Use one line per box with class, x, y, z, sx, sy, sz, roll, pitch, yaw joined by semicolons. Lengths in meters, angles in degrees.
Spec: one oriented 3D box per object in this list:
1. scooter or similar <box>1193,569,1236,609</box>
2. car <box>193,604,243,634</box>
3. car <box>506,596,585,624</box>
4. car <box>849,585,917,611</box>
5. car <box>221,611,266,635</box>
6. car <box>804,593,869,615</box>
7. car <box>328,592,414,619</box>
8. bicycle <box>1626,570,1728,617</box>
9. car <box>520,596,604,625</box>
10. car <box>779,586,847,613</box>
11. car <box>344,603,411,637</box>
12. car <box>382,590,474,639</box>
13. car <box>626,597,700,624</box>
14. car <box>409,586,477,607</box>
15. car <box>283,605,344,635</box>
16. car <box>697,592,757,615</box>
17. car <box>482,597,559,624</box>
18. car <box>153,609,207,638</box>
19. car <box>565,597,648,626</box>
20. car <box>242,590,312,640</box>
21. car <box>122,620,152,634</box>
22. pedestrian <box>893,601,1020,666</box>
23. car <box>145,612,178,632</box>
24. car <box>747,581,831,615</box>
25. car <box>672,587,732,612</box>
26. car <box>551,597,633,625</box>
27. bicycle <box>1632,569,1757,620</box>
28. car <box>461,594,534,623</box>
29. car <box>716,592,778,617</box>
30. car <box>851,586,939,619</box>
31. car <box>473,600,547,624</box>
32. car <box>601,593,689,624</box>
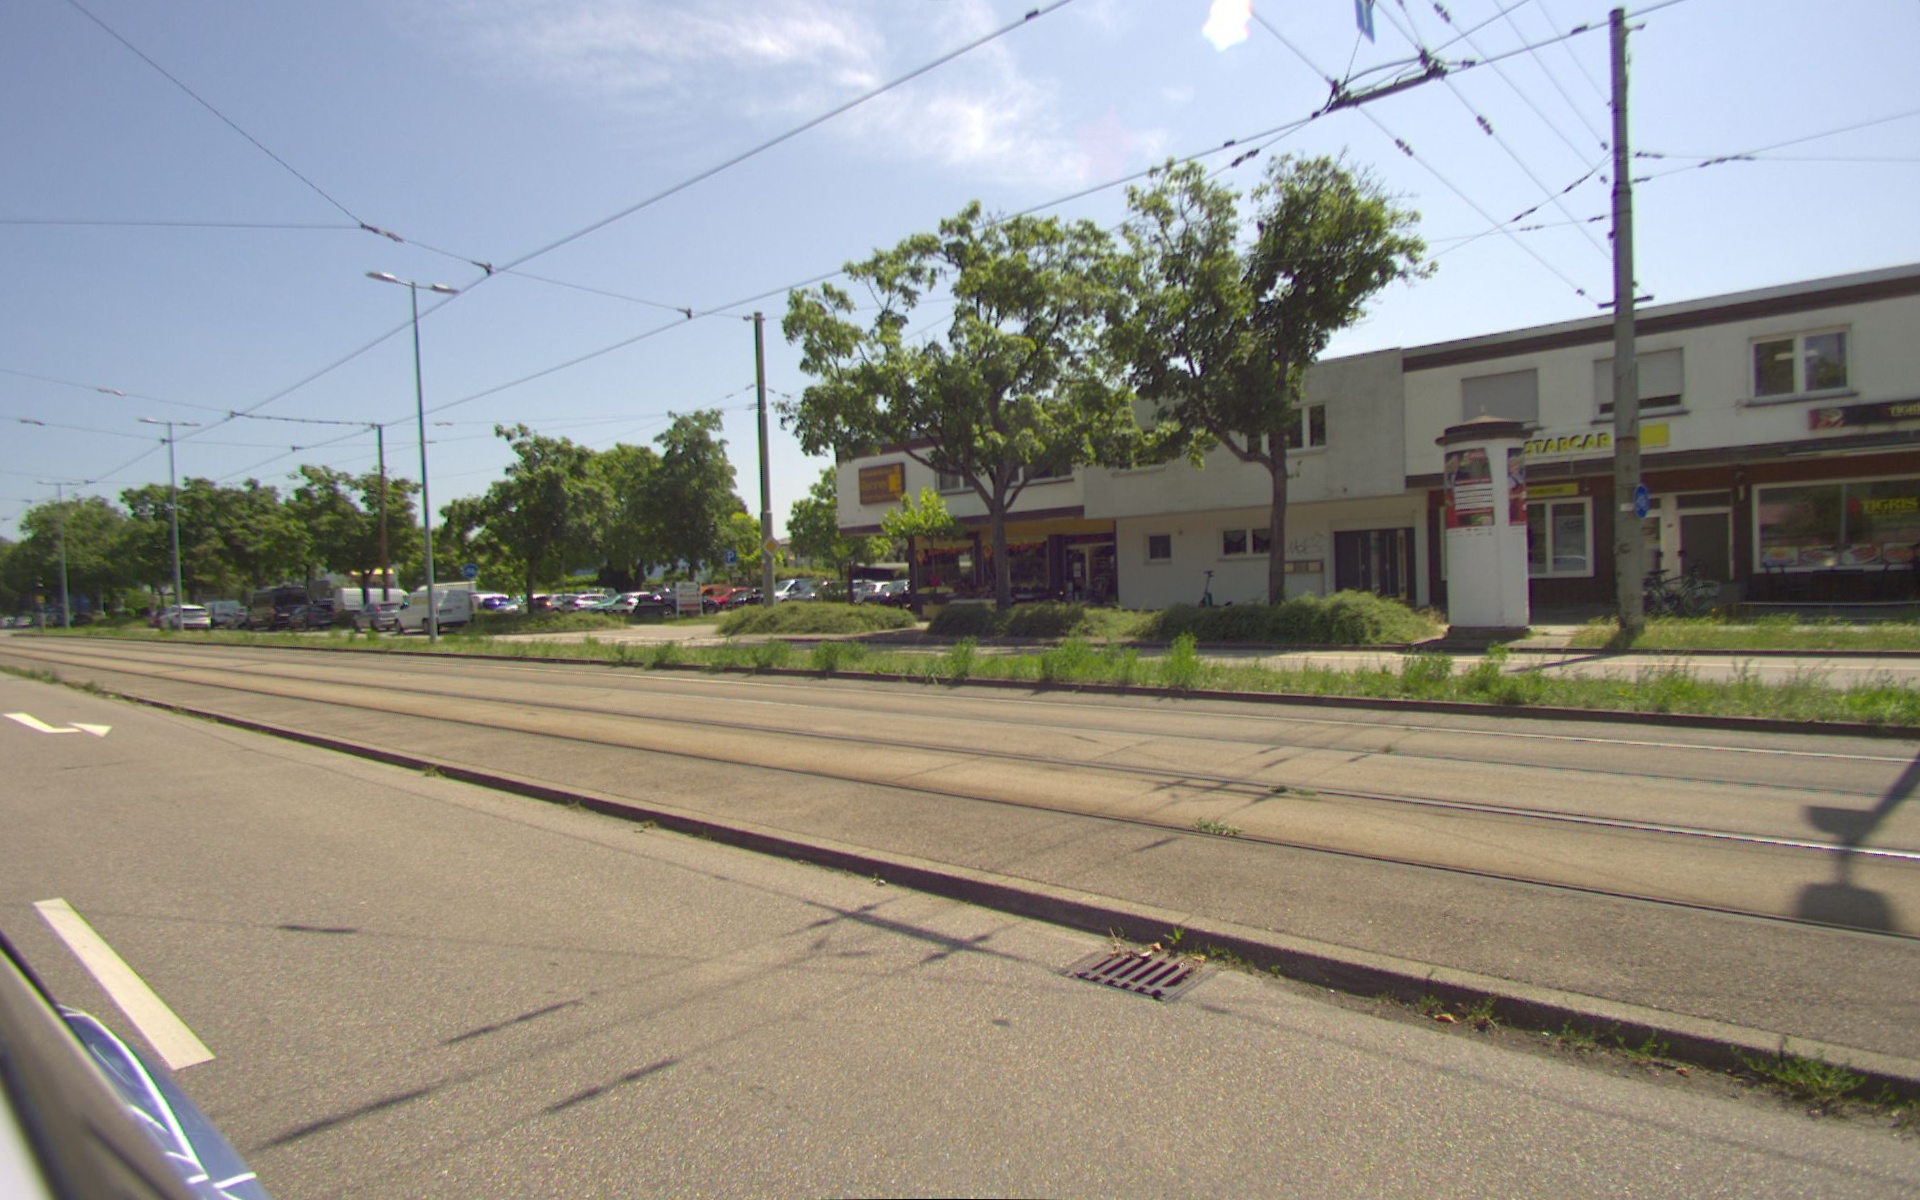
scooter or similar;7.717;-0.323;30.762;0.448;1.200;1.349;-1;0;-29
car;-51.709;1.285;70.536;4.816;1.963;1.899;0;0;42
car;-24.919;0.608;60.932;1.827;1.501;4.030;-1;1;34
car;-4.584;-0.139;60.474;1.661;1.531;3.943;0;0;43
car;-47.261;1.474;66.733;3.608;1.475;1.744;0;0;42
car;-7.482;0.214;61.459;1.764;1.294;3.675;0;0;43
car;-45.567;0.415;78.380;2.029;1.970;5.363;0;0;43
bicycle;15.576;-0.138;22.001;1.758;0.986;0.533;0;0;41
car;-23.048;0.588;58.760;2.018;1.501;4.117;-1;1;34
car;-9.204;-0.035;63.614;1.804;1.669;3.943;0;0;43
car;-29.200;0.995;50.692;4.124;1.513;1.633;-1;4;42
car;-24.496;0.655;46.520;5.342;2.025;1.856;-1;4;42
car;-15.307;0.540;52.248;1.639;1.241;3.385;-1;1;34
car;-52.059;-0.342;102.005;2.145;2.078;5.674;0;0;38
car;-36.508;1.105;57.141;3.751;1.589;1.950;0;0;42
car;-16.295;0.222;70.951;1.712;1.505;3.953;-1;0;35
car;-27.030;0.635;62.294;1.862;1.499;3.955;-1;1;34
car;-45.810;1.351;59.396;4.569;1.622;1.705;0;0;42
car;-19.369;0.603;55.574;1.908;1.501;3.995;-1;0;34
car;-41.375;0.870;61.250;5.666;2.859;2.214;0;0;42
car;-73.075;2.388;89.853;3.423;1.167;1.561;0;0;43
pedestrian;-0.147;1.070;34.191;3.997;2.029;1.973;0;0;41
car;-64.288;1.760;81.493;3.423;1.491;1.561;0;0;43
car;-10.983;-0.147;65.265;2.225;2.085;5.055;0;0;41
car;-18.340;-0.073;72.071;1.689;1.665;4.082;-1;0;35
car;-20.898;0.583;57.572;1.855;1.501;4.099;-1;0;34
bicycle;14.992;-0.102;20.700;2.028;0.986;0.604;0;0;41
car;-30.434;0.564;66.664;1.794;1.730;3.951;-1;1;37
car;-14.468;0.287;68.862;1.683;1.597;3.948;0;0;39
car;-2.936;0.106;46.210;1.682;1.306;3.944;-2;1;43
car;-28.706;0.758;64.587;1.794;1.417;3.950;-2;0;37
car;-16.876;0.425;54.377;1.983;1.501;4.120;-1;1;39
